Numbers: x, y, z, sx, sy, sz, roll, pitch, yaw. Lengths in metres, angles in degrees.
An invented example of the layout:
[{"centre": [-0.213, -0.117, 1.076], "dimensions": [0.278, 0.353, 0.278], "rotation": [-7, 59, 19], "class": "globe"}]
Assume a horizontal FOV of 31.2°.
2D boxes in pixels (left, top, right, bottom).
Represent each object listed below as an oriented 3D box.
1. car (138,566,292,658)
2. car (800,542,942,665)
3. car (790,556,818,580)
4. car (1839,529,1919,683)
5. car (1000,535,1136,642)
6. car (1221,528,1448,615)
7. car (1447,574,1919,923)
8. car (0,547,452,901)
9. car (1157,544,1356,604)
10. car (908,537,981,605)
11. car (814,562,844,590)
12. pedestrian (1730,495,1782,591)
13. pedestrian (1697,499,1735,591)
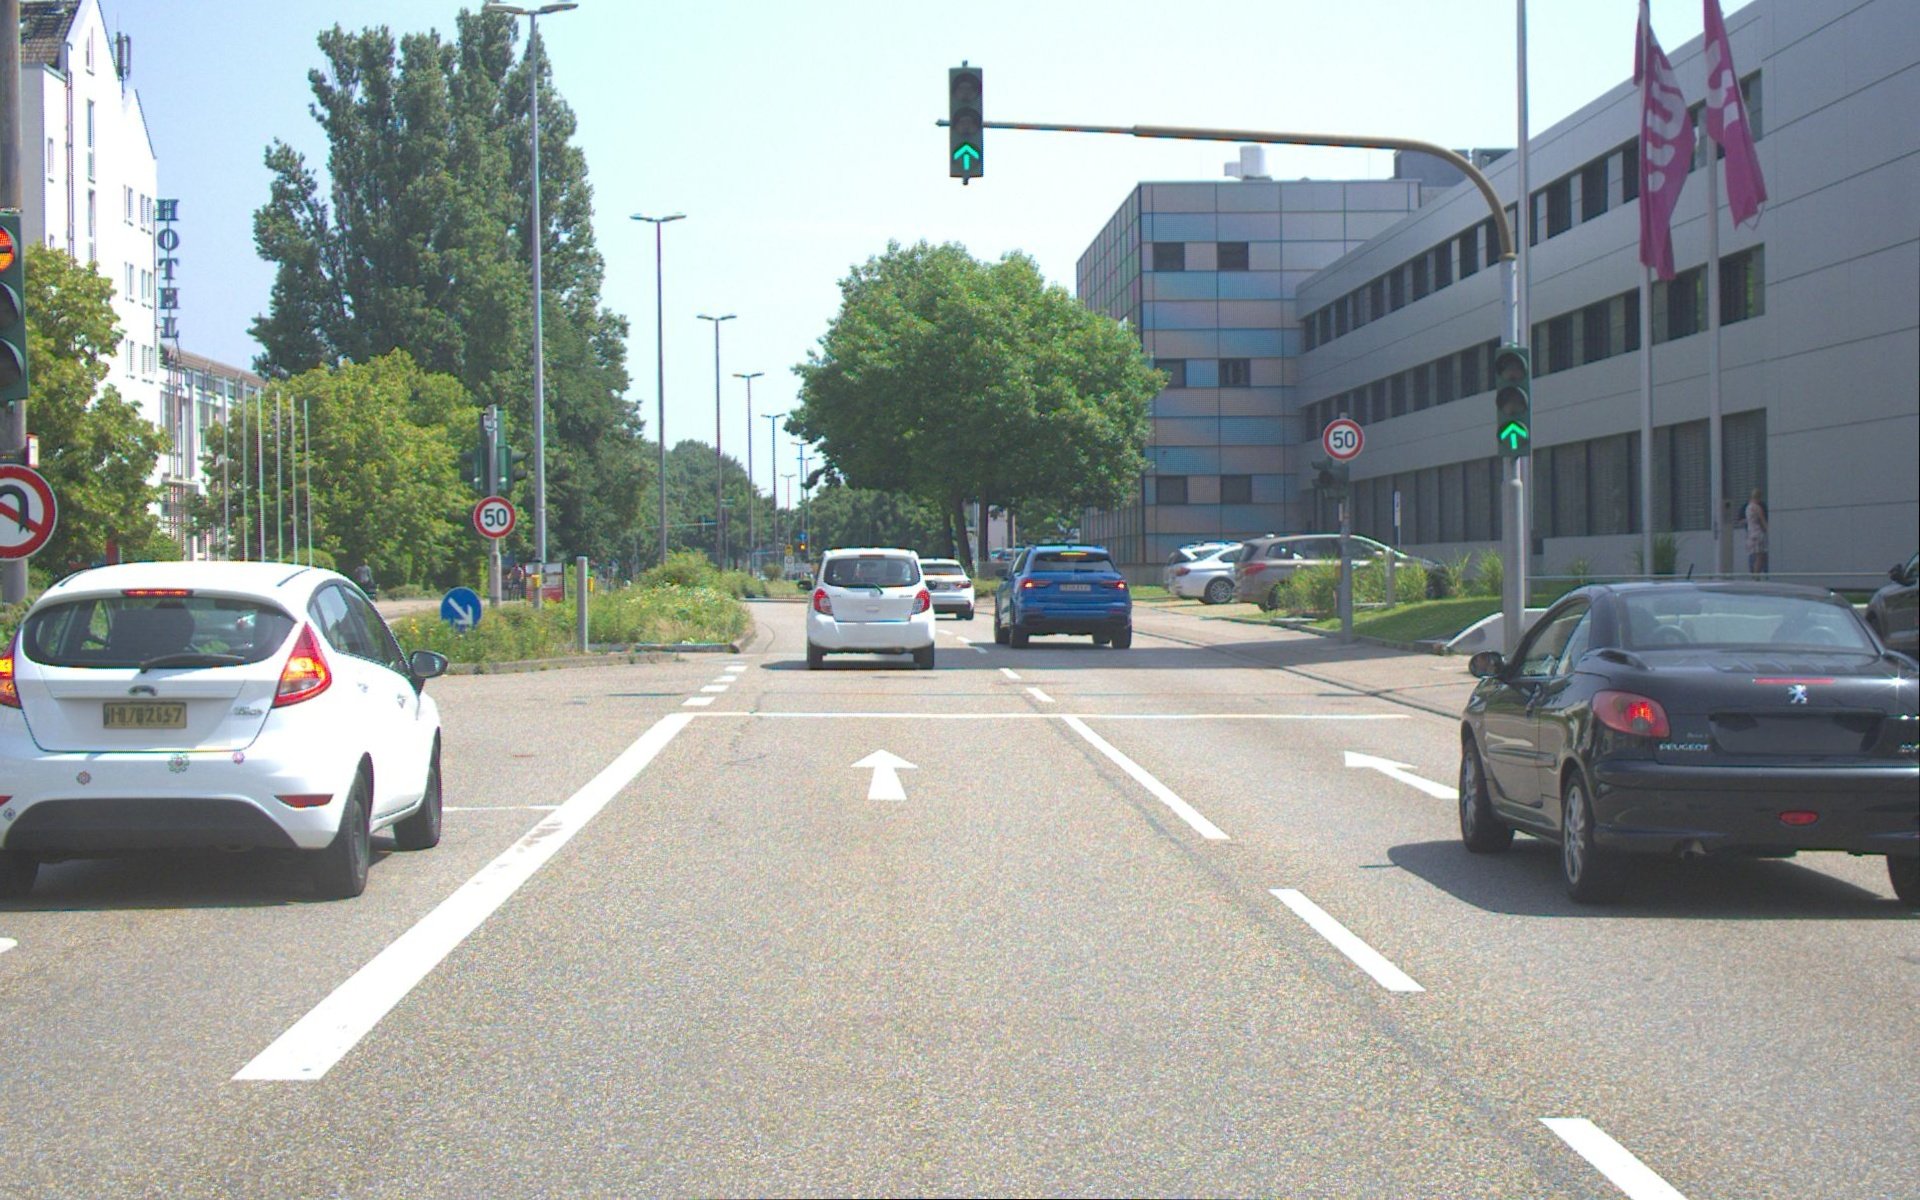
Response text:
[{"centre": [-12.929, 0.181, 59.912], "dimensions": [1.993, 1.481, 4.502], "rotation": [-1, 1, -4], "class": "car"}, {"centre": [-1.110, 0.009, 44.516], "dimensions": [1.748, 1.515, 3.746], "rotation": [0, 1, 0], "class": "car"}, {"centre": [-11.573, -2.359, 254.632], "dimensions": [1.819, 1.656, 4.001], "rotation": [-1, 1, -6], "class": "car"}, {"centre": [10.432, 0.060, 34.891], "dimensions": [1.844, 1.526, 4.197], "rotation": [1, 1, -1], "class": "car"}, {"centre": [1.646, -0.206, 53.466], "dimensions": [1.827, 1.575, 3.606], "rotation": [-1, 1, -3], "class": "car"}, {"centre": [7.603, -0.589, 70.024], "dimensions": [4.258, 1.683, 2.000], "rotation": [-1, 1, -6], "class": "car"}, {"centre": [3.300, 0.584, 15.597], "dimensions": [1.627, 1.359, 3.605], "rotation": [0, 1, -1], "class": "car"}, {"centre": [-3.460, 0.483, 16.011], "dimensions": [1.688, 1.429, 3.711], "rotation": [-1, 1, -1], "class": "car"}, {"centre": [7.362, -0.656, 85.644], "dimensions": [4.612, 1.385, 2.000], "rotation": [-1, 1, -6], "class": "car"}, {"centre": [-0.340, -0.682, 79.461], "dimensions": [1.559, 1.515, 3.605], "rotation": [-1, 1, 1], "class": "car"}, {"centre": [-8.070, -1.461, 211.131], "dimensions": [1.819, 1.656, 4.000], "rotation": [-1, 1, -2], "class": "car"}, {"centre": [13.863, -0.993, 59.905], "dimensions": [0.521, 1.657, 0.757], "rotation": [-2, 1, -19], "class": "pedestrian"}, {"centre": [13.541, -0.979, 61.577], "dimensions": [0.593, 1.629, 0.523], "rotation": [-1, 1, 7], "class": "pedestrian"}]
